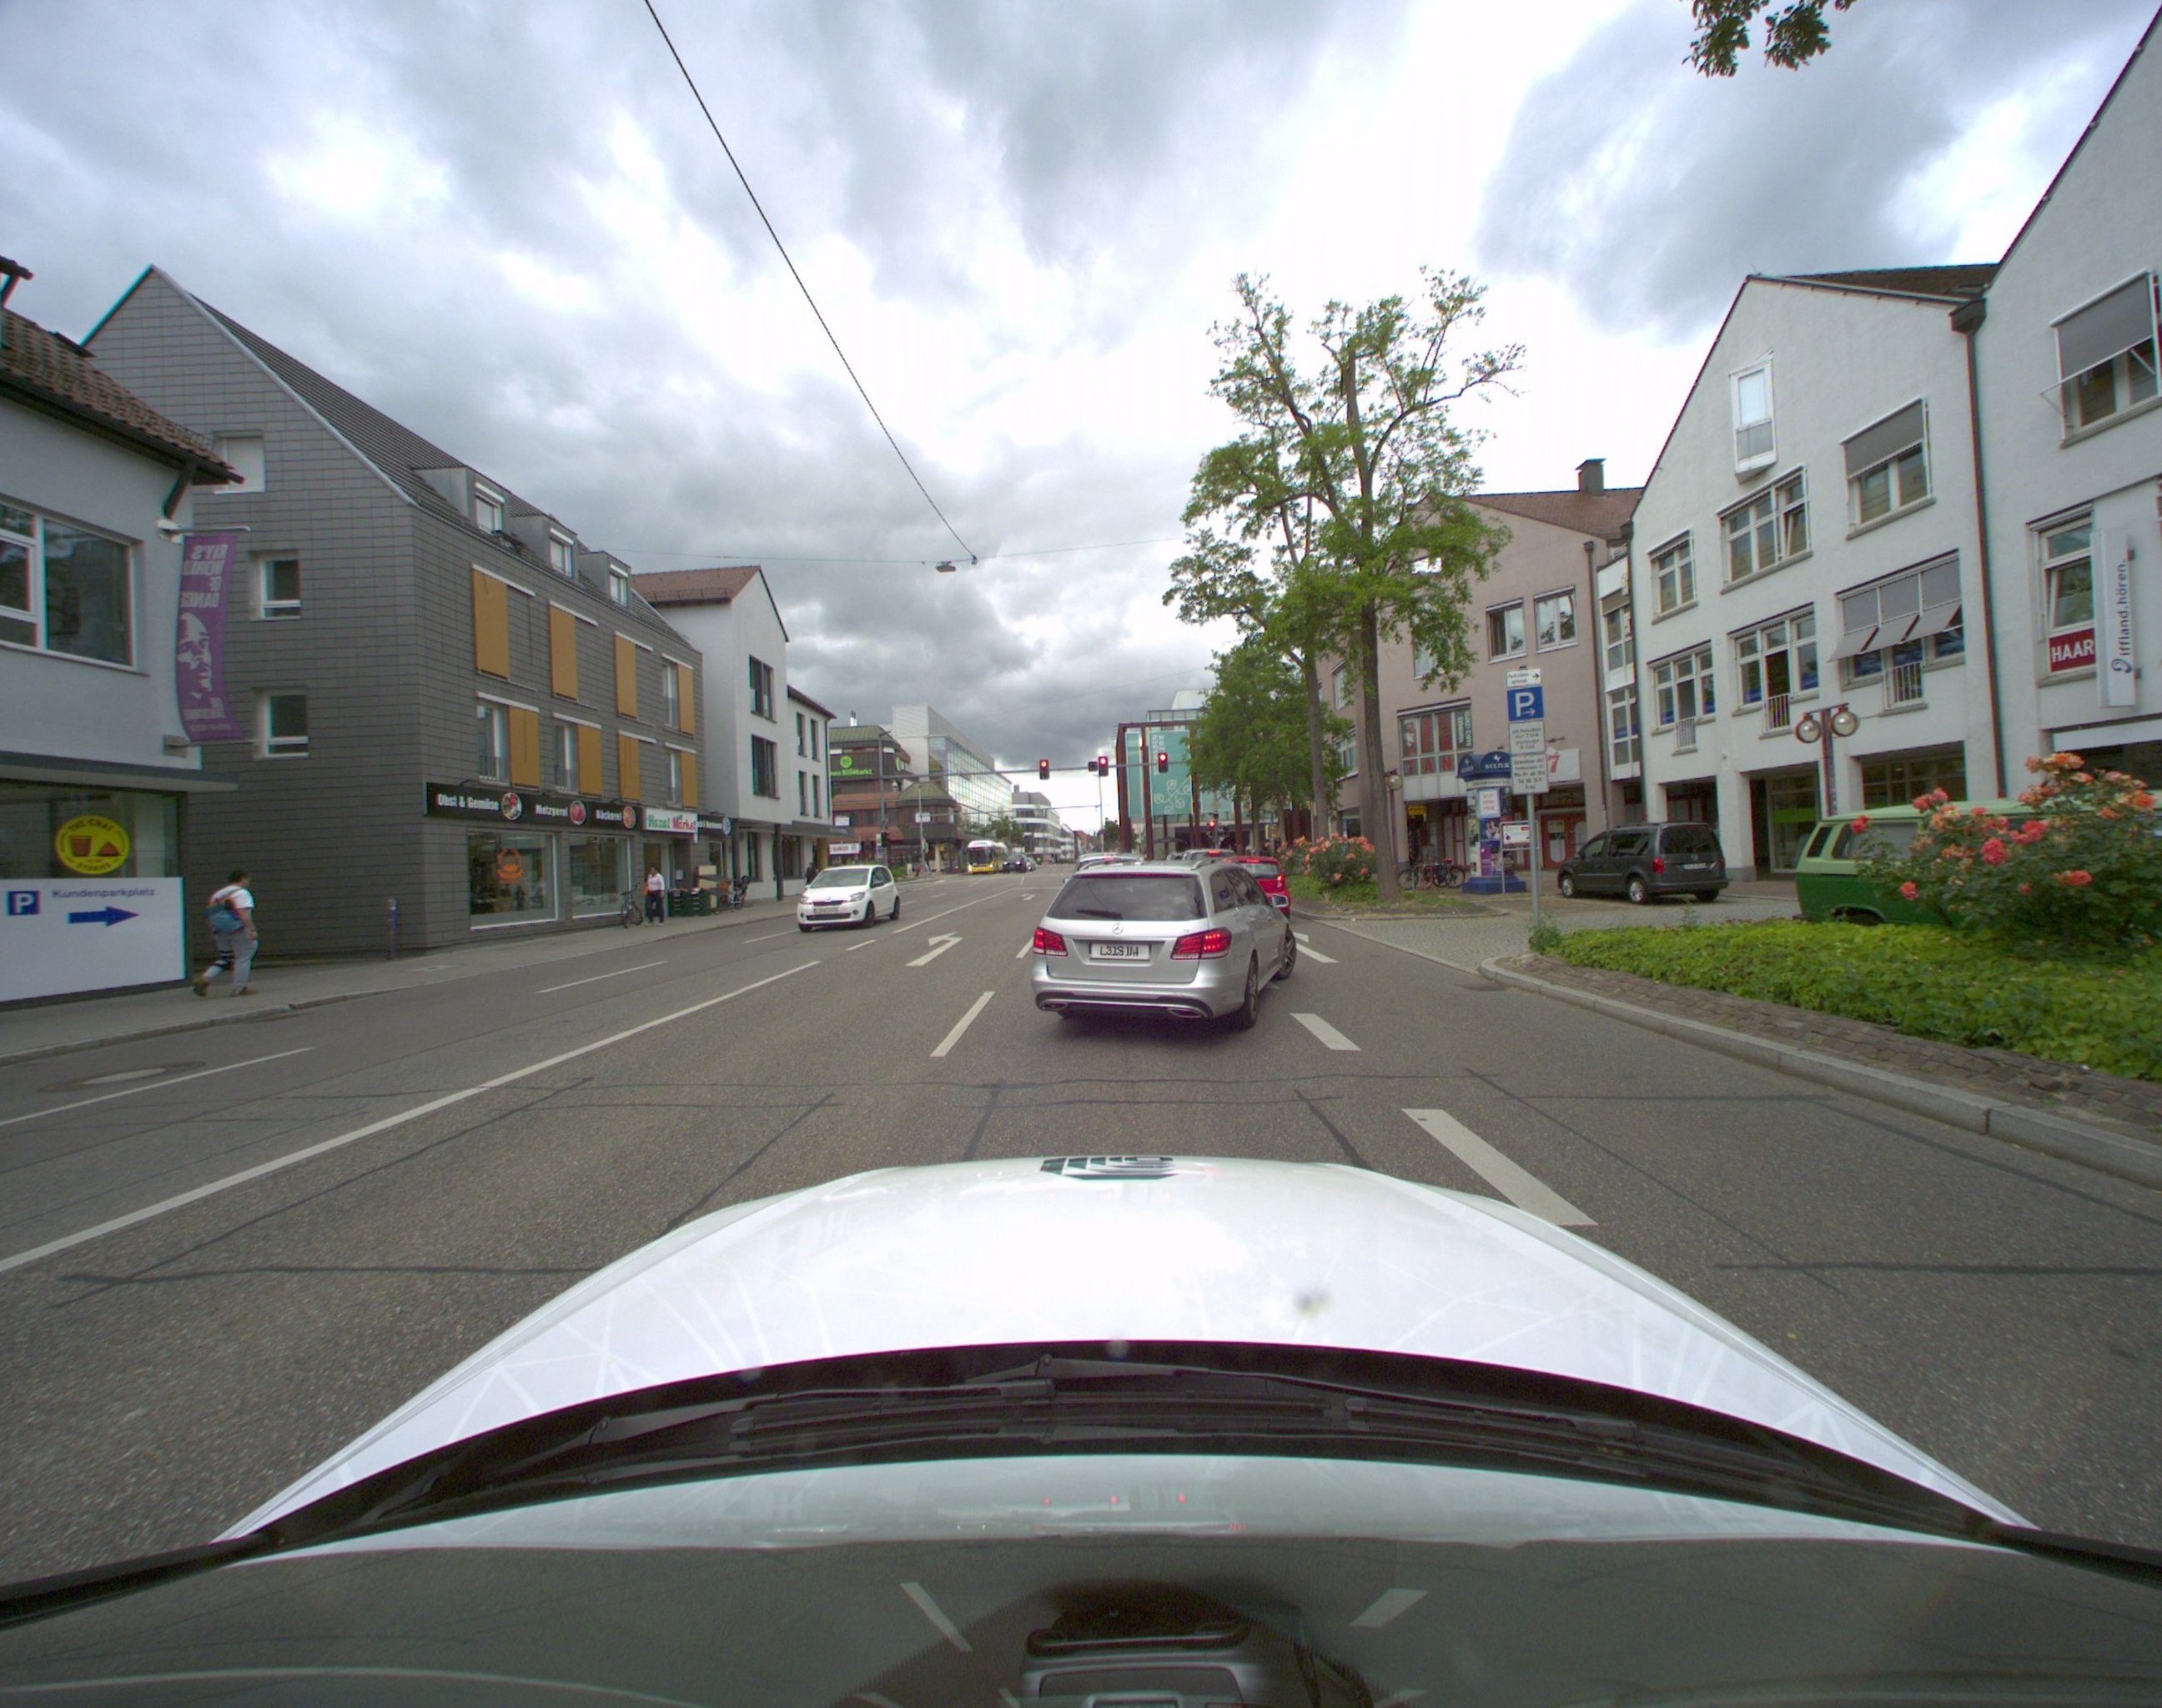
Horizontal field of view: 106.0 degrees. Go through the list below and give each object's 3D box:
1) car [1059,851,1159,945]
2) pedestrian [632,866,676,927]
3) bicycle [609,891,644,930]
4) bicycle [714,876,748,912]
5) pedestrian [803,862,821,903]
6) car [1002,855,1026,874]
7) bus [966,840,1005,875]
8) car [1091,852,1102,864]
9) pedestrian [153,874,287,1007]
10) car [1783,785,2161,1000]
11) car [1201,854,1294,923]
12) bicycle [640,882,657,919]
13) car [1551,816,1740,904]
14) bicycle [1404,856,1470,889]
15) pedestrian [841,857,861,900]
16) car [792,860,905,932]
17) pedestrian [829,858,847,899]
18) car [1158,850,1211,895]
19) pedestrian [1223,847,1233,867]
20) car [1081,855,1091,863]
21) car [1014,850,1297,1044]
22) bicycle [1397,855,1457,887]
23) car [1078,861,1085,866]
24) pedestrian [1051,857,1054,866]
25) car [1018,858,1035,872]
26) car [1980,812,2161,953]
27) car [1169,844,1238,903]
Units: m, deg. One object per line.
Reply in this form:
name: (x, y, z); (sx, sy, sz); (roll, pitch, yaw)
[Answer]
car: (0.526, 0.732, 15.284); (1.634, 1.527, 3.395); (-1, 0, 2)
pedestrian: (-11.591, 1.143, 22.111); (0.725, 1.610, 0.753); (-2, 0, 2)
bicycle: (-12.343, 1.523, 22.142); (0.325, 0.954, 1.479); (-2, 0, -9)
bicycle: (-12.444, 1.411, 29.006); (0.385, 1.186, 1.825); (-3, 0, -1)
pedestrian: (-11.135, 1.173, 33.746); (0.653, 1.650, 0.556); (-2, 0, -18)
car: (-6.538, 0.988, 79.856); (1.987, 1.706, 4.065); (-2, 0, 1)
bus: (-9.571, 0.328, 82.499); (2.677, 3.261, 8.654); (-2, 0, 1)
car: (2.729, 0.678, 144.305); (1.987, 1.949, 4.951); (-2, 0, 1)
pedestrian: (-11.687, 1.139, 11.092); (0.751, 1.705, 0.981); (1, 0, 1)
car: (10.342, 0.283, 8.562); (1.874, 1.876, 4.605); (-4, 0, 0)
car: (3.759, 0.736, 18.901); (1.580, 1.443, 3.350); (0, 0, 2)
bicycle: (-14.063, 1.498, 26.485); (0.388, 1.127, 1.279); (-2, 0, -25)
car: (13.395, 0.124, 19.656); (1.633, 1.831, 3.963); (-3, 0, -2)
bicycle: (11.611, 0.597, 26.608); (1.891, 0.997, 0.468); (-2, 0, 6)
pedestrian: (-9.970, 1.061, 35.353); (0.681, 1.790, 0.647); (-2, 0, -8)
car: (-5.480, 0.932, 19.594); (1.568, 1.488, 3.465); (-3, 0, 1)
pedestrian: (-10.727, 1.068, 35.955); (0.567, 1.775, 0.647); (-2, 0, 0)
car: (3.960, 0.675, 31.615); (1.581, 1.595, 3.868); (0, 0, 0)
pedestrian: (12.131, 0.257, 67.253); (0.652, 1.650, 0.557); (-2, 0, -13)
car: (1.040, 0.973, 164.510); (1.793, 1.540, 4.068); (-2, 0, 3)
car: (1.074, 0.706, 8.448); (1.800, 1.448, 4.392); (-1, 0, 21)
bicycle: (11.530, 0.564, 27.165); (1.760, 0.997, 0.447); (-2, 0, 6)
car: (0.240, 2.778, 237.965); (1.793, 1.540, 4.068); (-2, 0, 3)
pedestrian: (-5.761, 1.478, 164.249); (0.516, 1.734, 0.490); (-2, 0, 10)
car: (-5.818, 1.135, 87.230); (1.550, 1.392, 3.288); (-2, 0, 1)
car: (12.999, 0.289, 8.737); (1.790, 1.542, 4.393); (-4, 0, 0)
car: (3.677, 0.553, 25.008); (1.581, 1.634, 3.916); (0, 0, 0)
